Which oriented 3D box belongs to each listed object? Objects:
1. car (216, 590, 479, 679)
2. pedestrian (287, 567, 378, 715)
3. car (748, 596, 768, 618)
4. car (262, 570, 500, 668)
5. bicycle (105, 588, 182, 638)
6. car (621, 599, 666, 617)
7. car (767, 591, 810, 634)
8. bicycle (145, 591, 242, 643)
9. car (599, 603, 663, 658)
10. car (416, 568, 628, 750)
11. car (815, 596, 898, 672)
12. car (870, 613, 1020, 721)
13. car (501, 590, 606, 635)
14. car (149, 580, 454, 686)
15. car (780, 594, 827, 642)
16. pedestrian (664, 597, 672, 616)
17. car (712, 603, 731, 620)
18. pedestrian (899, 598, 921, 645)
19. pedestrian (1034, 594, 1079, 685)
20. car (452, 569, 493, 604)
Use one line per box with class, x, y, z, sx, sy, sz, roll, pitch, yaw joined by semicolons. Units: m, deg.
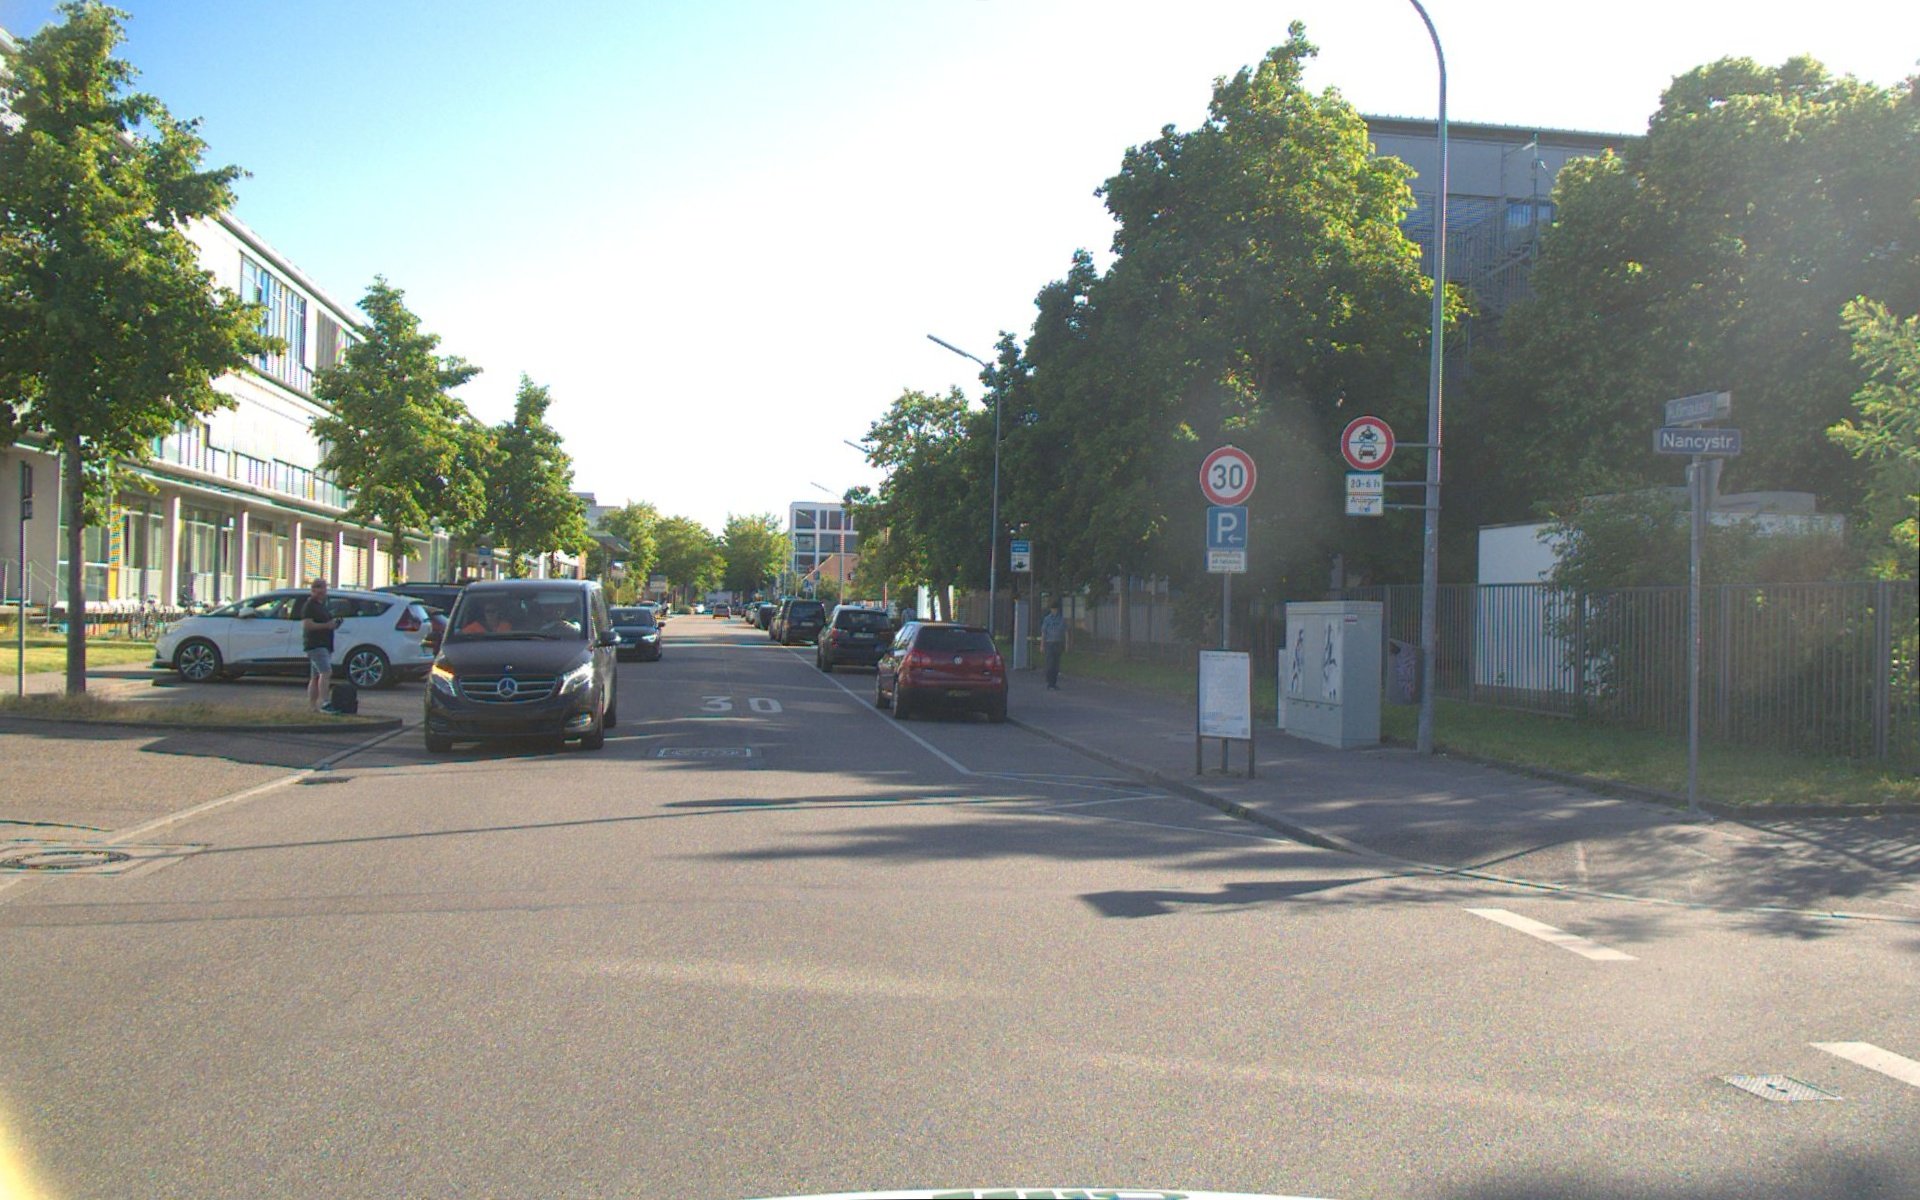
car;-11.552;0.648;31.472;4.351;1.527;1.824;2;-1;-9
pedestrian;-8.272;0.531;21.823;0.841;1.874;0.824;3;-1;-7
car;-15.552;0.534;127.398;1.409;1.588;3.036;1;0;-9
car;-12.844;0.422;36.964;4.654;1.897;1.824;3;0;-9
bicycle;-20.340;0.341;41.250;0.851;1.174;1.992;3;-1;1
car;-29.082;0.719;151.987;3.913;1.546;1.996;2;-2;-9
car;-8.254;0.593;79.462;1.840;2.013;3.992;0;0;-9
bicycle;-18.923;0.438;40.883;0.850;1.174;2.374;3;-1;12
car;-9.204;0.823;46.228;1.673;1.476;4.074;0;0;-11
car;-5.101;0.613;19.932;1.919;1.900;5.244;0;0;-9
car;-2.711;0.823;42.499;1.778;1.695;4.585;3;0;-7
car;-0.337;1.011;26.668;1.688;1.480;4.642;3;0;-9
car;-17.024;0.524;69.414;4.140;1.631;1.866;3;-1;-13
car;-11.370;0.571;28.833;4.522;1.680;1.865;2;-1;-6
car;-6.381;0.721;67.140;1.700;1.862;3.898;1;0;-8
pedestrian;-25.276;0.589;143.181;0.607;1.652;0.714;0;0;-9
car;-22.939;1.064;158.804;1.711;1.570;3.992;2;0;-9
pedestrian;-1.840;0.796;60.872;0.685;1.690;0.750;-1;0;-9
pedestrian;1.930;0.776;33.178;0.704;1.789;0.883;-1;0;-8
car;-31.330;-0.852;106.328;1.956;2.049;3.991;2;-2;-9
